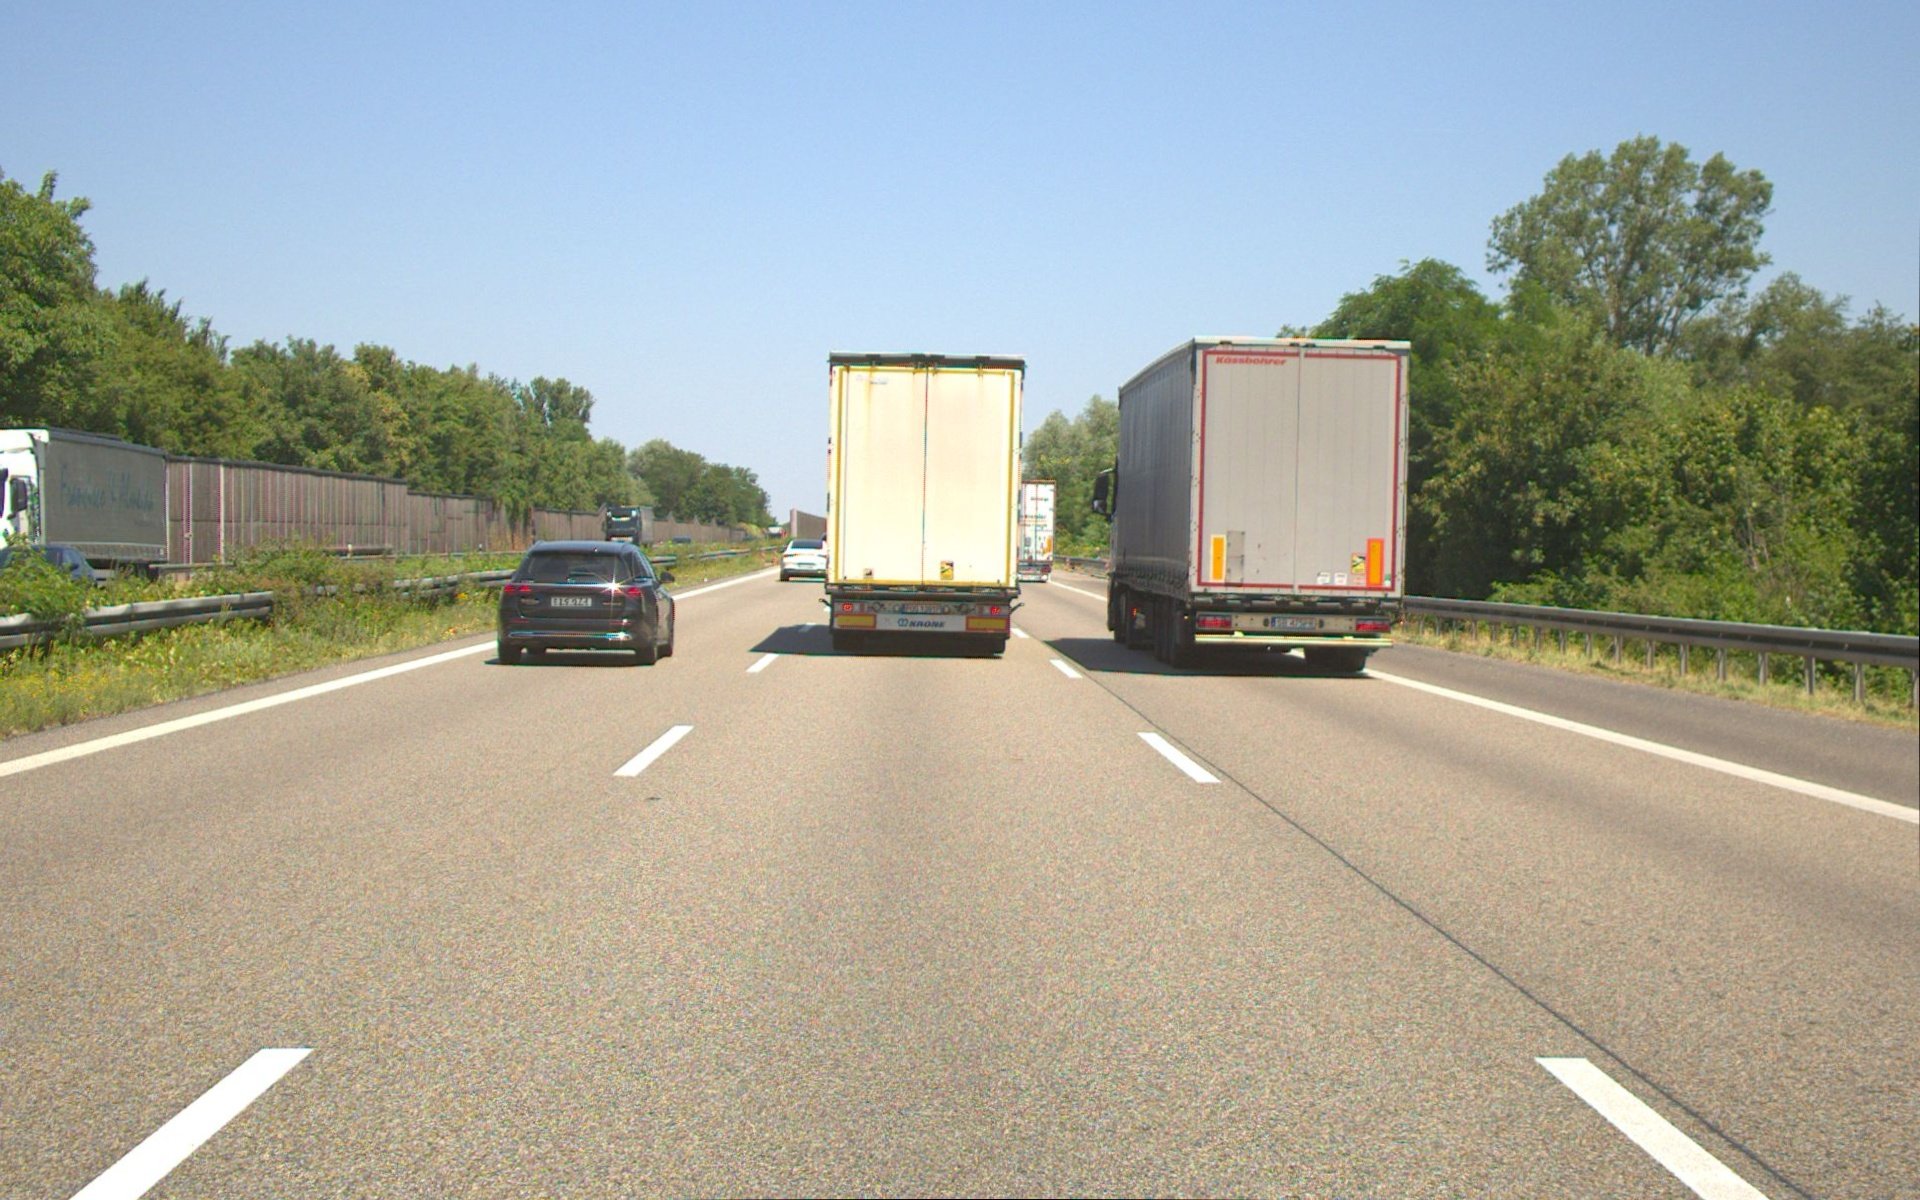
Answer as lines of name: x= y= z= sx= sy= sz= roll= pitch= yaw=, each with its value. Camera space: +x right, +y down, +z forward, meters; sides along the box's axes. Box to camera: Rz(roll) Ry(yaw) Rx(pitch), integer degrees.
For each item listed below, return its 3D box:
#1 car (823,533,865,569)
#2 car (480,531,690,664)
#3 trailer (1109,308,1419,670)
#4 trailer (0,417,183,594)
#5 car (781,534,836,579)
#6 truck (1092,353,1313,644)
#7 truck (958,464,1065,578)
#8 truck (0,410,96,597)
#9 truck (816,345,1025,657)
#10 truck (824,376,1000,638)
car: x=-5.339 y=-2.256 z=157.848 sx=1.855 sy=1.611 sz=4.001 roll=-1 pitch=1 yaw=-2
car: x=-4.573 y=-0.085 z=42.717 sx=1.943 sy=1.501 sz=5.821 roll=0 pitch=1 yaw=0
trailer: x=3.833 y=-1.408 z=46.677 sx=2.703 sy=4.201 sz=13.213 roll=0 pitch=1 yaw=-1
trailer: x=-22.541 y=-2.316 z=87.216 sx=2.909 sy=4.169 sz=13.313 roll=0 pitch=1 yaw=-1
car: x=-5.254 y=-1.525 z=119.576 sx=1.855 sy=1.481 sz=4.000 roll=-1 pitch=1 yaw=-2
truck: x=3.660 y=-1.530 z=53.668 sx=2.691 sy=4.201 sz=7.839 roll=0 pitch=1 yaw=-1
truck: x=2.004 y=-3.192 z=139.507 sx=3.374 sy=4.289 sz=11.451 roll=2 pitch=1 yaw=-3
truck: x=-22.405 y=-2.209 z=80.234 sx=2.833 sy=4.169 sz=7.143 roll=0 pitch=1 yaw=-1
truck: x=-0.678 y=-1.409 z=51.673 sx=2.707 sy=4.071 sz=13.475 roll=0 pitch=1 yaw=-1
truck: x=-0.837 y=-1.513 z=57.218 sx=2.727 sy=4.071 sz=7.278 roll=0 pitch=1 yaw=-1
